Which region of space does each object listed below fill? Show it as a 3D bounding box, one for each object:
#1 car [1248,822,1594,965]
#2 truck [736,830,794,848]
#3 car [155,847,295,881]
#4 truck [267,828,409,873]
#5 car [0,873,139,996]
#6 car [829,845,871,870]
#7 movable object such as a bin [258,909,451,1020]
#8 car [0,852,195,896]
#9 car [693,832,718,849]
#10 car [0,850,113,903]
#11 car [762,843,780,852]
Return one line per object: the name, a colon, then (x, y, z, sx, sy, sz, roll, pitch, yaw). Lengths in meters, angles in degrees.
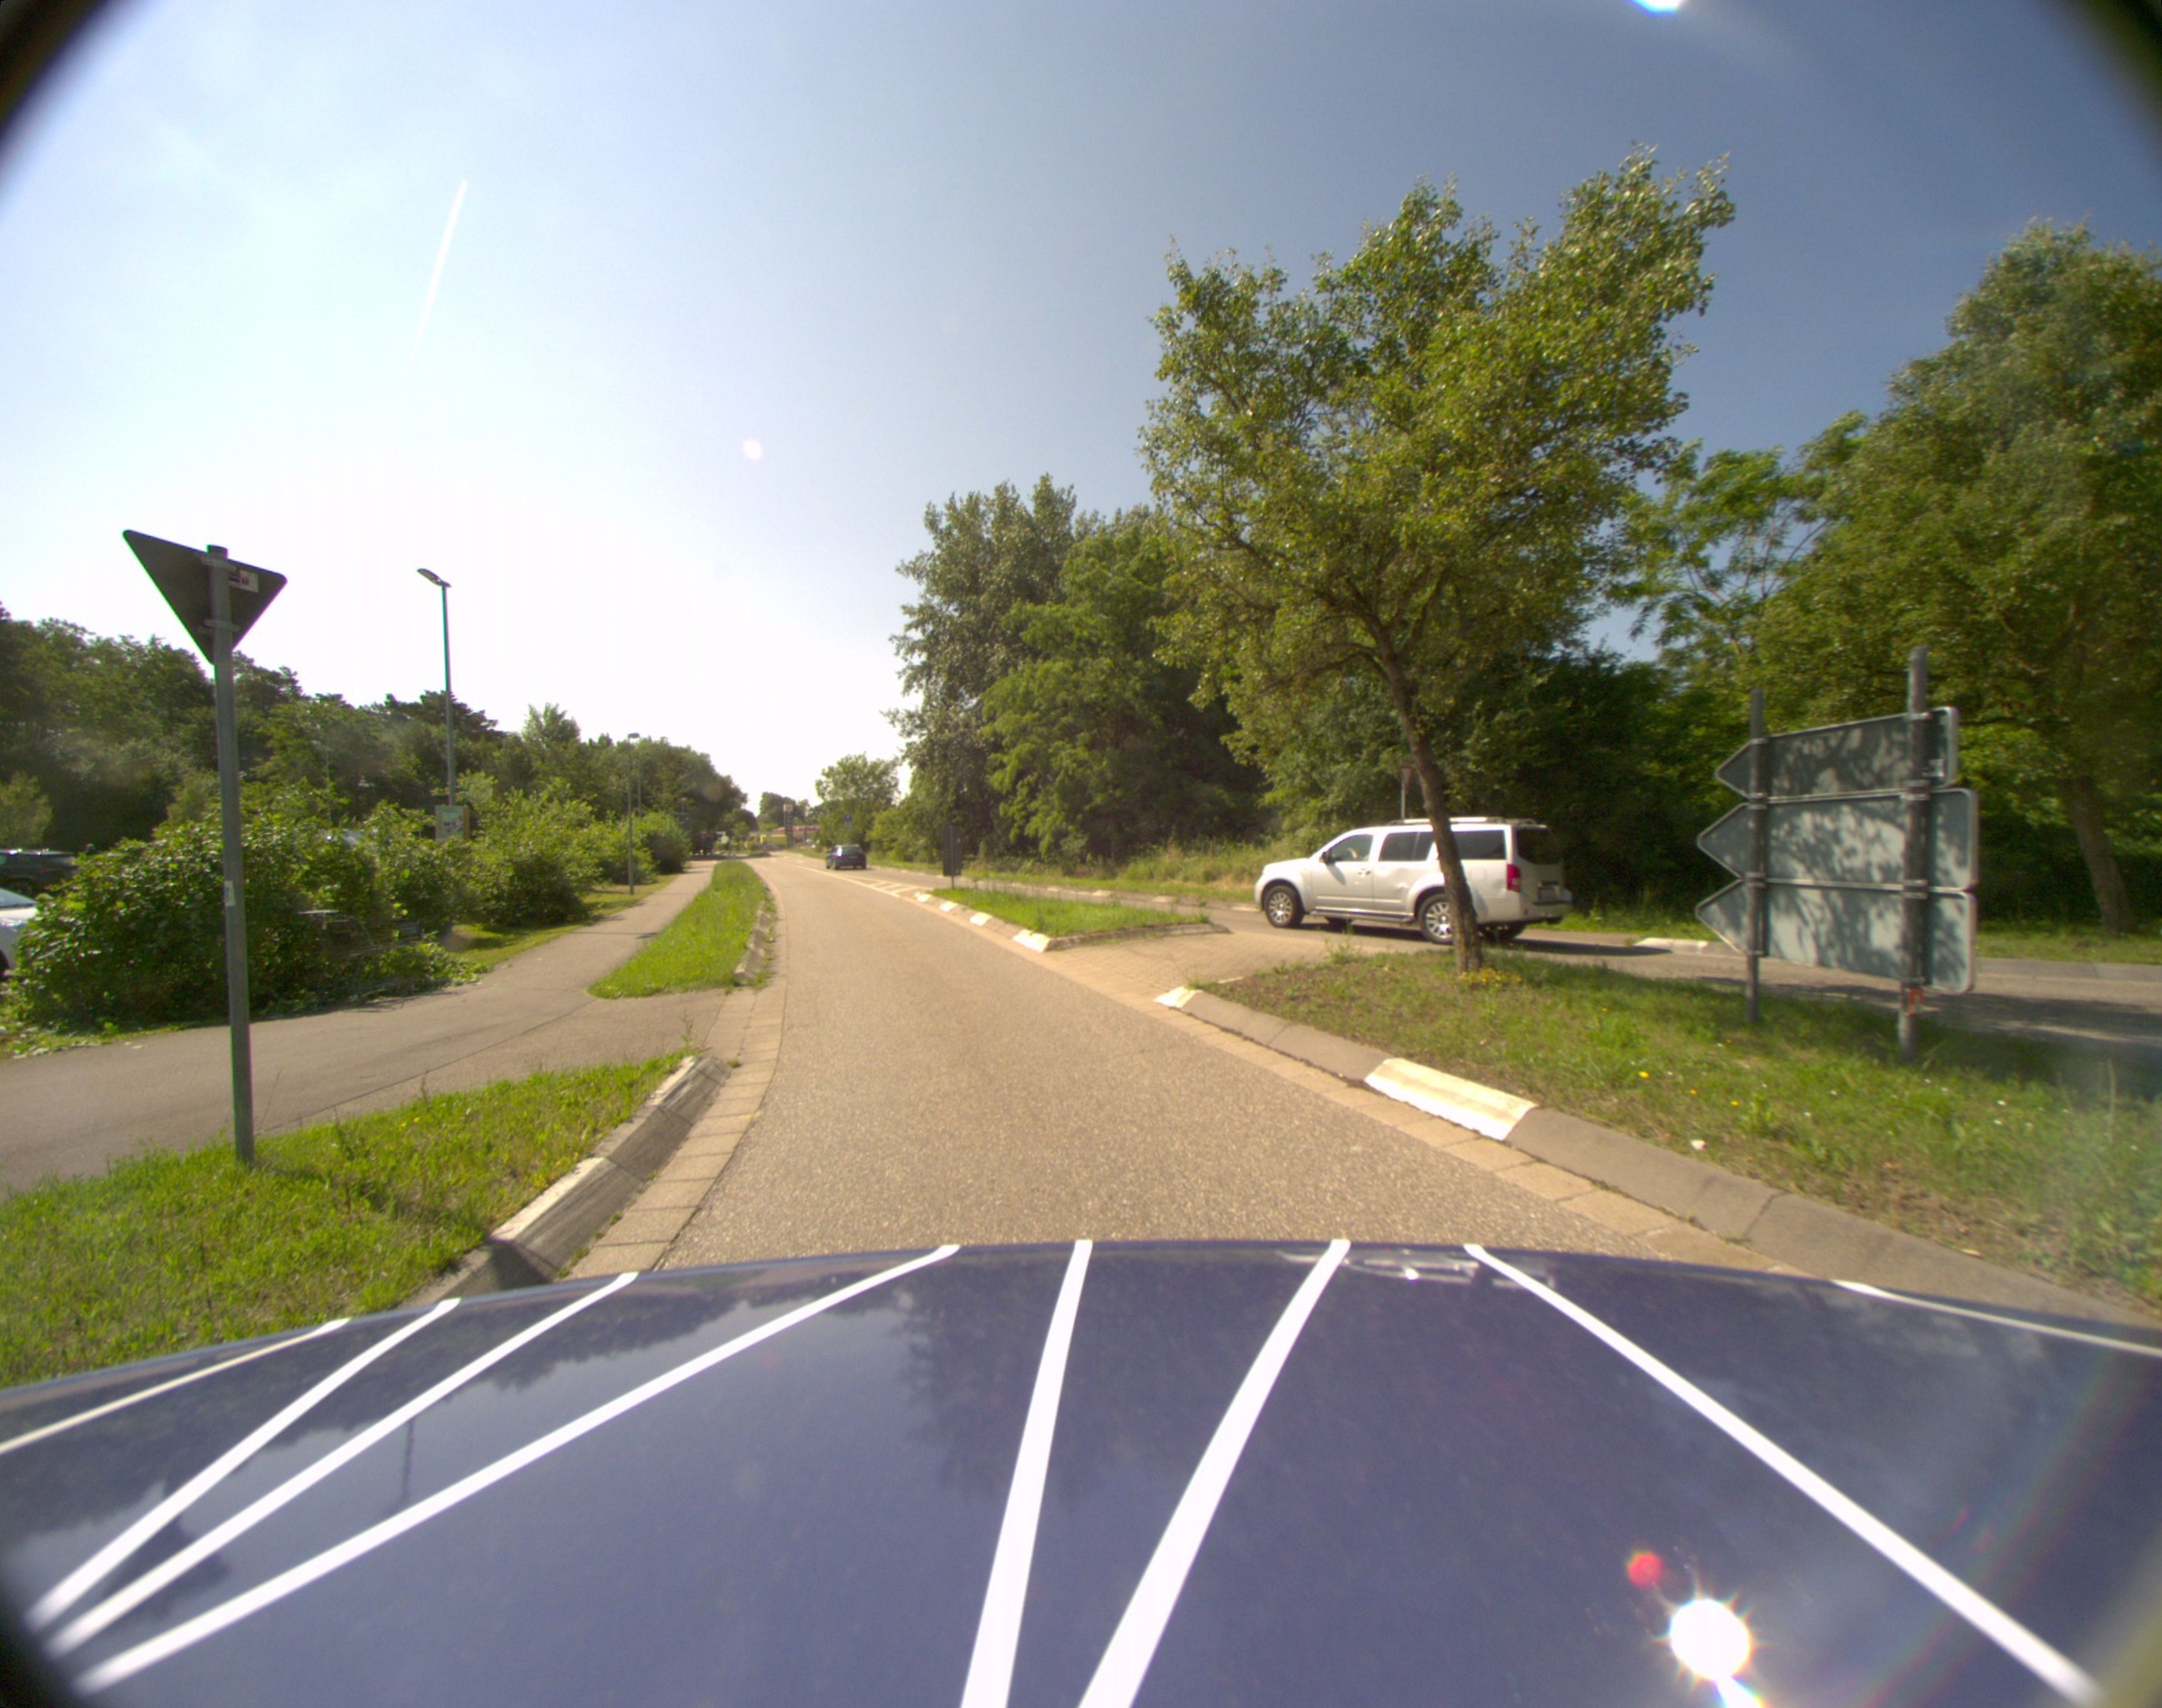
car: (5.083, 0.492, 11.975, 1.904, 1.805, 4.583, 1, 0, -38)
truck: (-62.553, -2.942, 150.582, 10.355, 3.375, 3.875, -1, 2, -28)
car: (-40.086, 0.419, 35.745, 3.981, 1.445, 1.899, -1, 2, -35)
truck: (-44.331, -0.258, 45.557, 5.625, 2.590, 2.198, -1, 2, -26)
car: (-15.912, 1.090, 10.222, 3.609, 1.553, 1.810, 0, 1, -22)
car: (-13.545, 0.198, 44.327, 1.841, 1.379, 4.414, 0, 1, -24)
movable object such as a bin: (-8.786, 1.300, 9.285, 0.870, 1.114, 1.455, -1, 2, 3)
car: (-35.788, 0.697, 27.808, 4.006, 1.419, 1.745, -1, 2, -32)
car: (-63.790, -2.240, 129.116, 2.682, 2.795, 5.137, -2, 2, -38)
car: (-34.041, 0.716, 23.750, 4.172, 1.565, 1.995, -2, 2, -28)
car: (-53.246, -1.120, 130.489, 1.707, 1.381, 4.281, -2, 2, -40)
